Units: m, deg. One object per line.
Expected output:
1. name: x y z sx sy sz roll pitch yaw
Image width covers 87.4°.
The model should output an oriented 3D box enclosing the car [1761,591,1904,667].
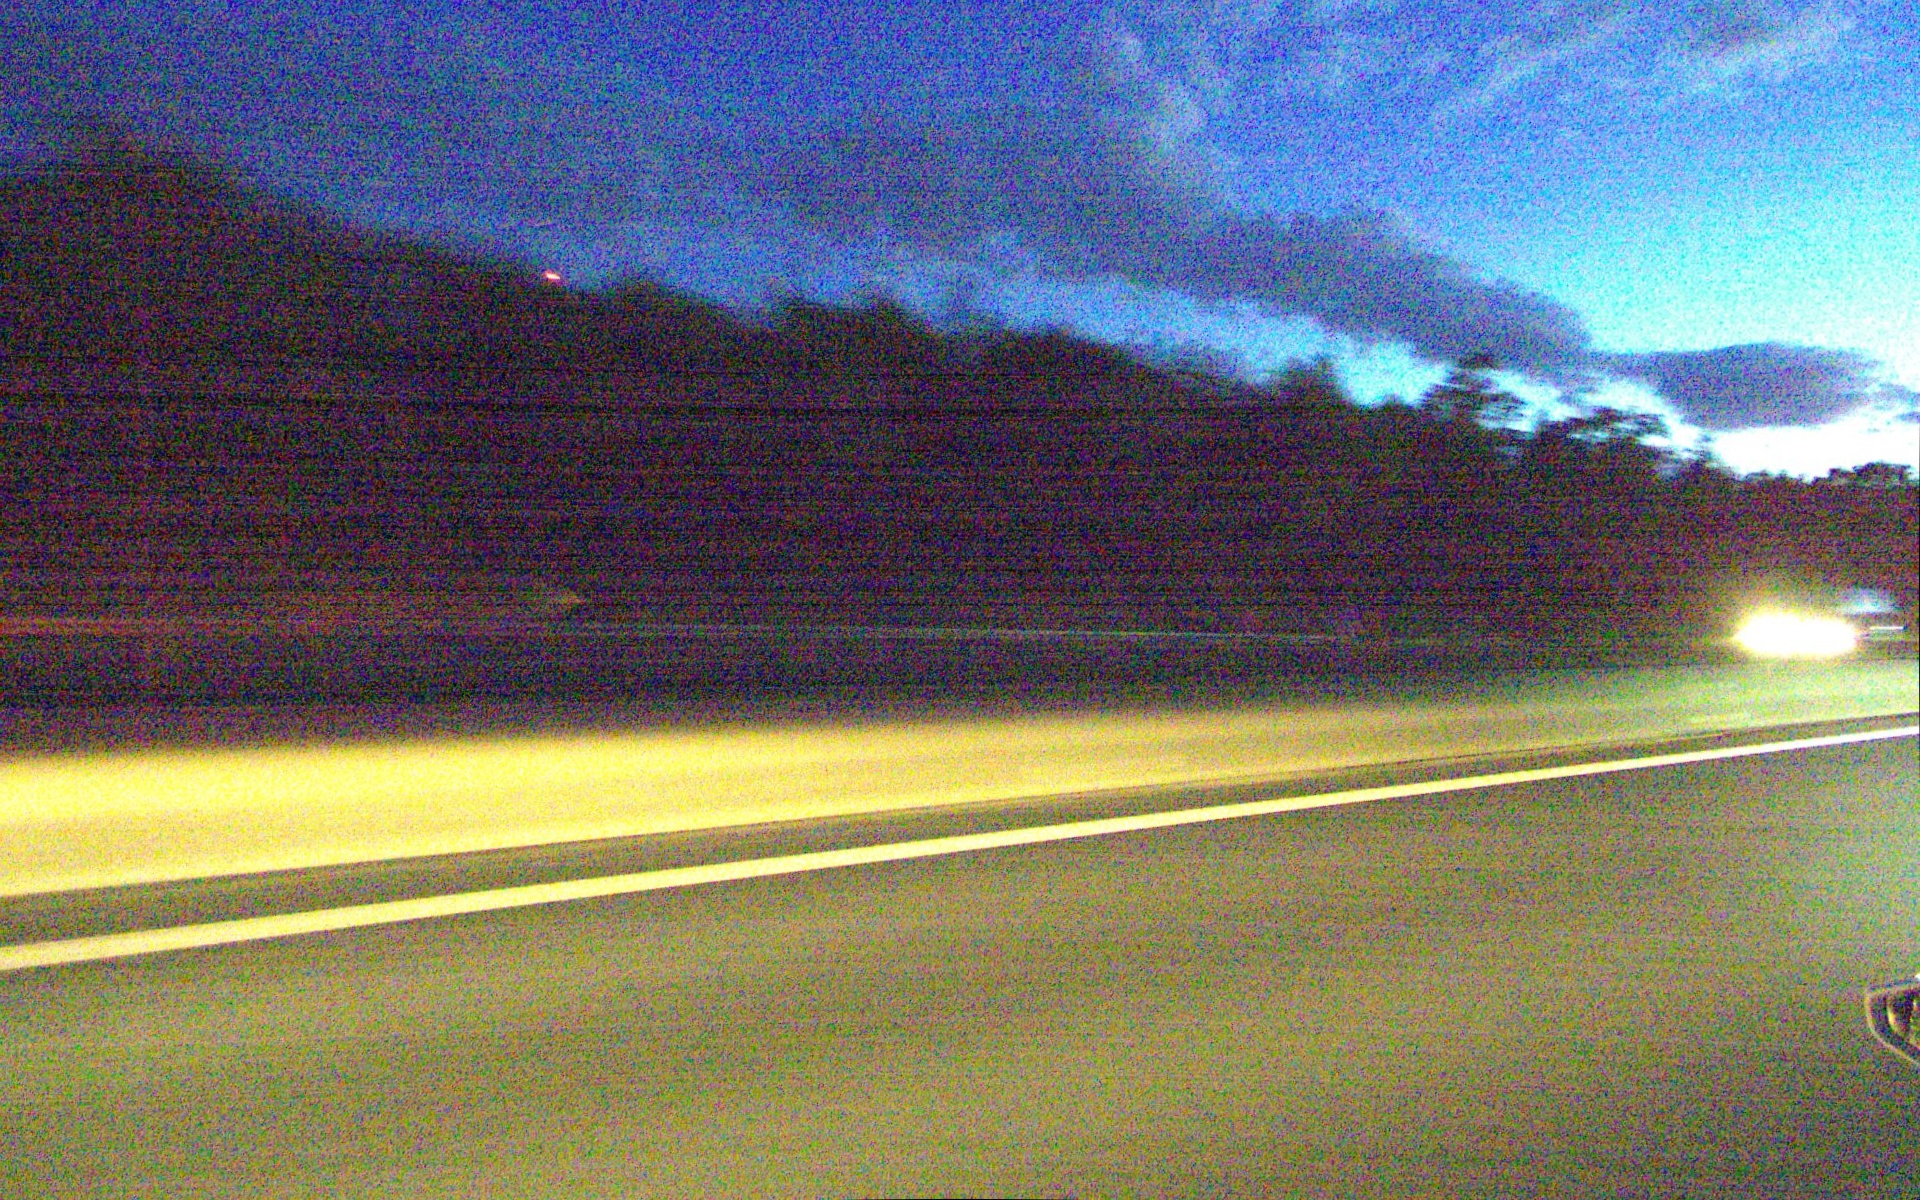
1. car: 31.756 1.050 36.505 6.144 2.551 2.090 1 0 -31
